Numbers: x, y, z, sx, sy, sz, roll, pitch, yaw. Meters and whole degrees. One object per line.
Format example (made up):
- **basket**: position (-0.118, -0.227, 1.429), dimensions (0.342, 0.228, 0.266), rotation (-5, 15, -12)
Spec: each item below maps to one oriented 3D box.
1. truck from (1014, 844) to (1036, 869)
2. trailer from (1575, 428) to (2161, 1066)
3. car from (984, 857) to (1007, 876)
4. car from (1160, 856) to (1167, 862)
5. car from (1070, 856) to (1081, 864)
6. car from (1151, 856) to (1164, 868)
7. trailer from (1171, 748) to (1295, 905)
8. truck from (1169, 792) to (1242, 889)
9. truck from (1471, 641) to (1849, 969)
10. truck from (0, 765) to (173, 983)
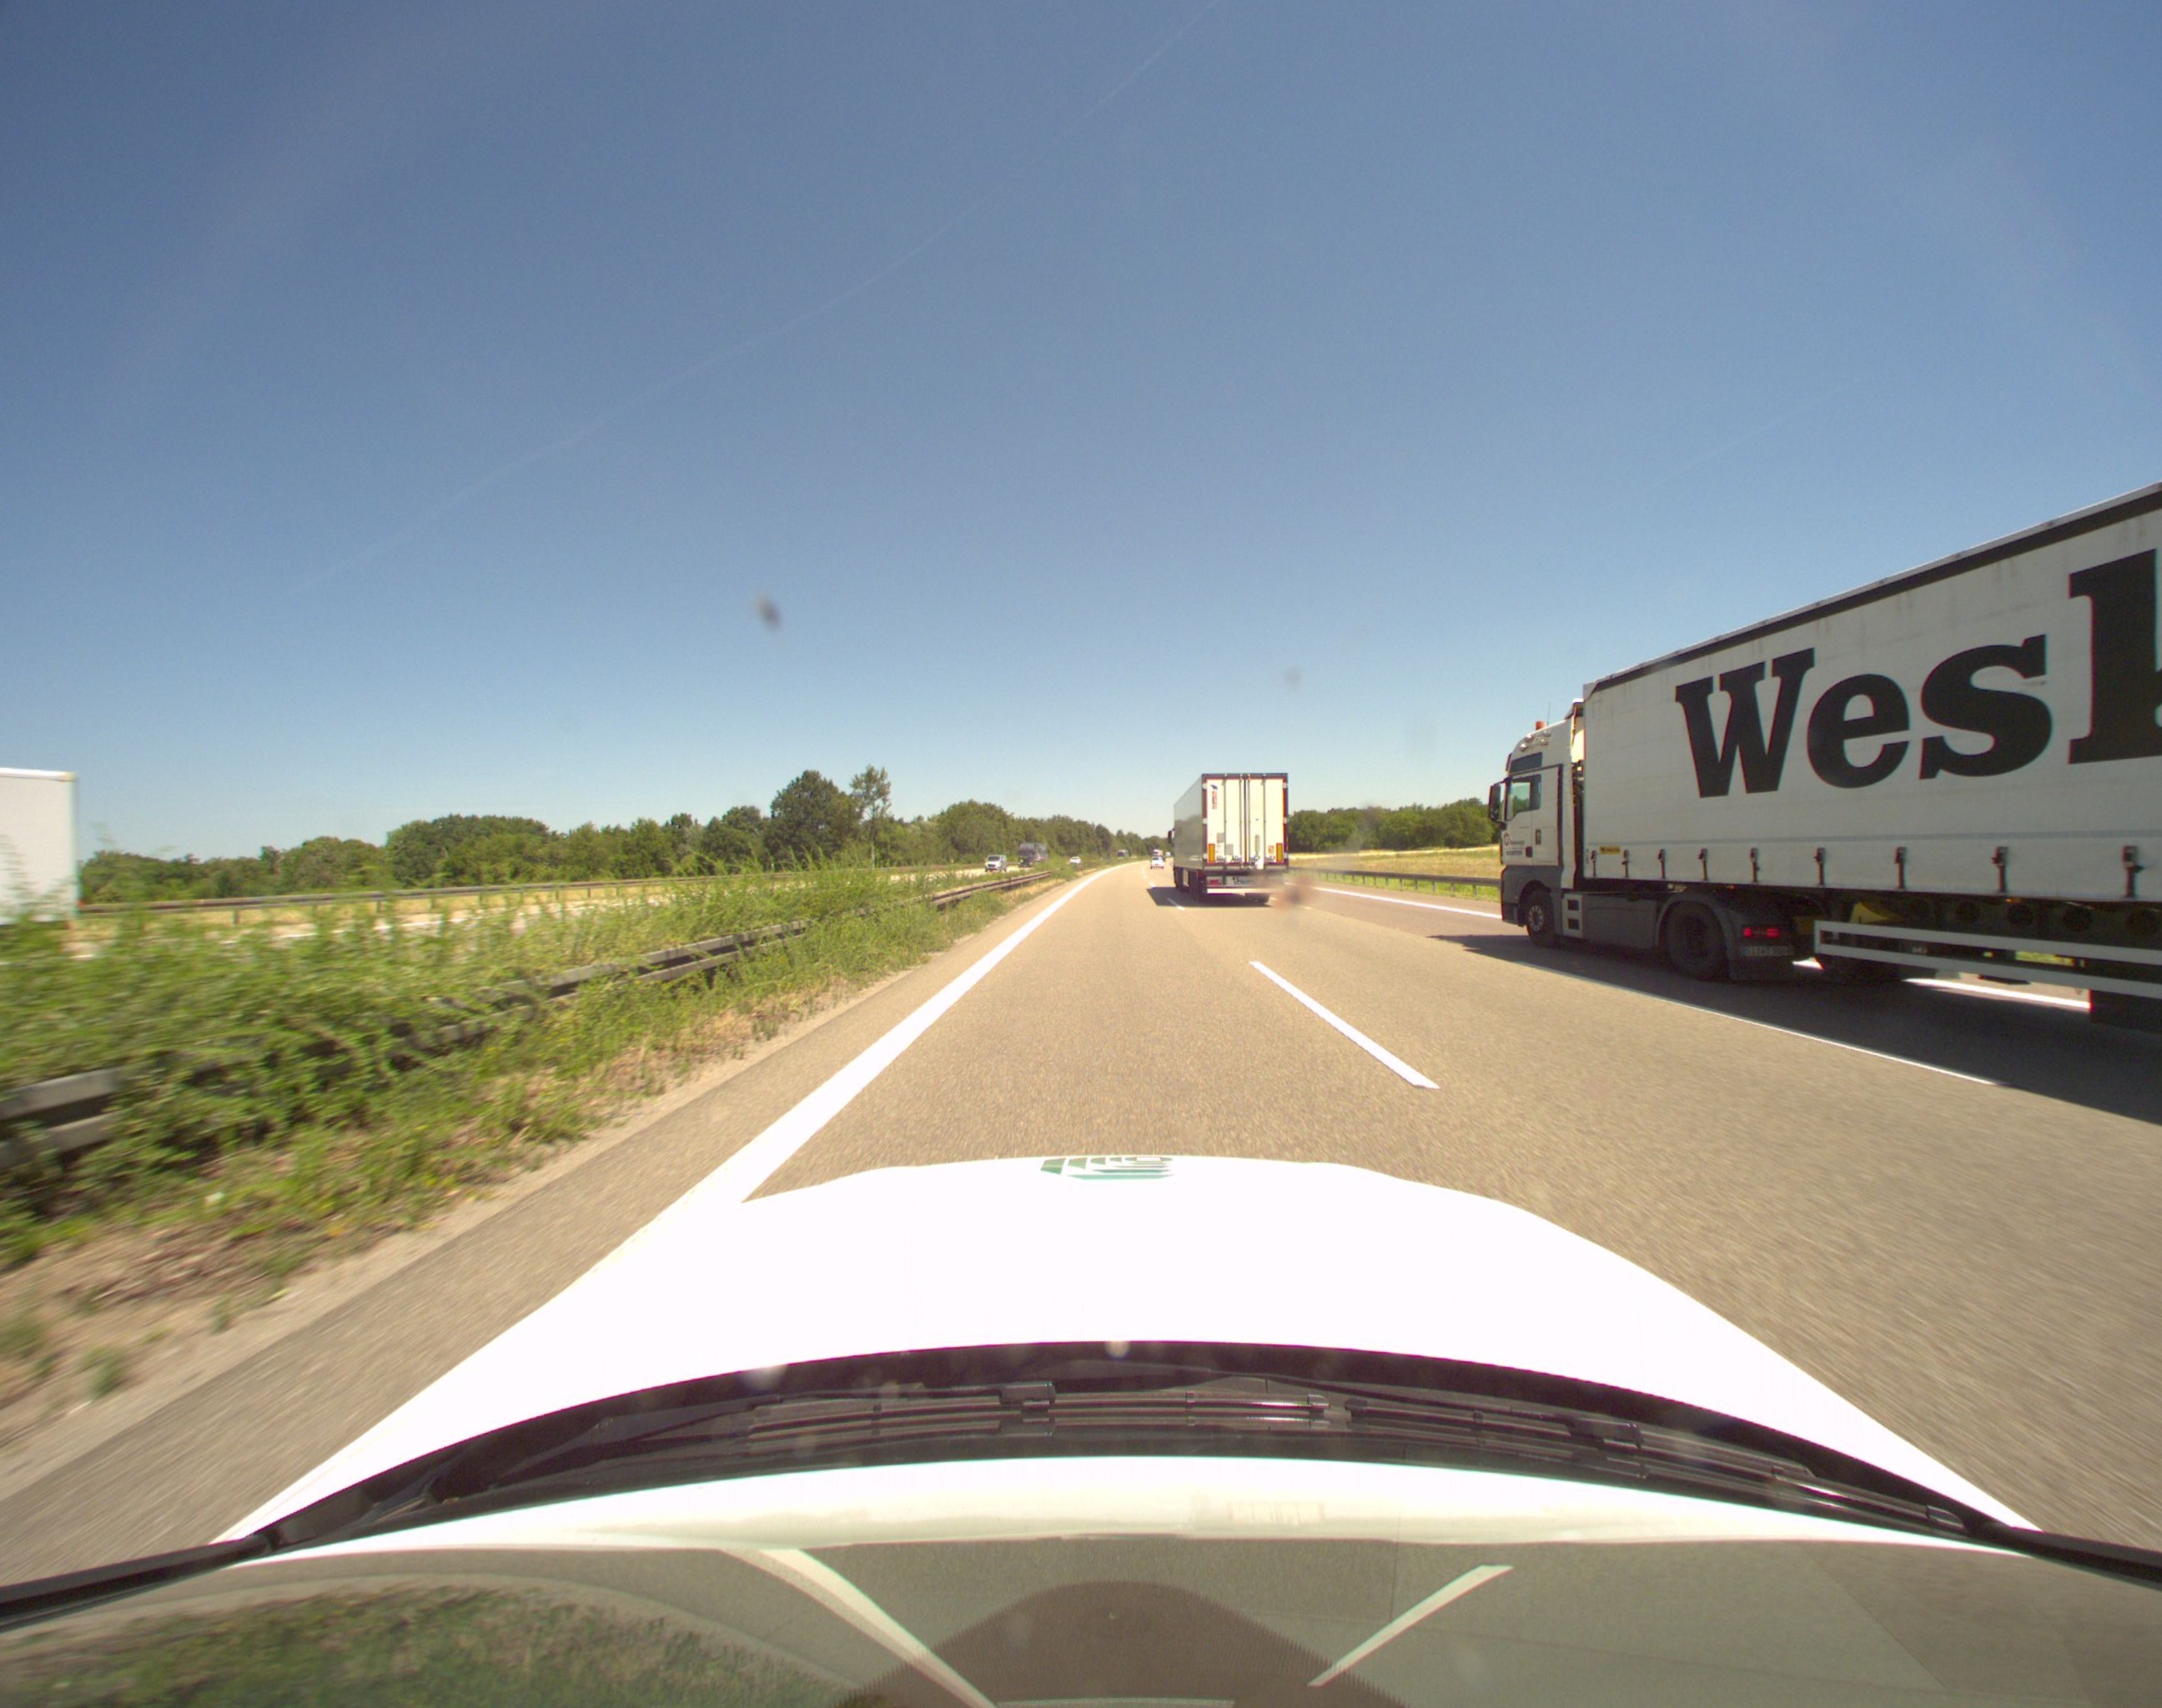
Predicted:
- **truck**: position (-9.011, 0.427, 132.141), dimensions (2.880, 3.916, 4.005), rotation (-1, 0, 4)
- **trailer**: position (8.500, -0.718, 5.313), dimensions (2.586, 4.252, 13.644), rotation (-1, -1, 2)
- **car**: position (-10.166, 1.458, 97.143), dimensions (2.051, 2.071, 5.410), rotation (-2, 0, 1)
- **car**: position (21.088, 1.313, 207.872), dimensions (1.619, 1.479, 4.007), rotation (-1, -1, 6)
- **car**: position (-1.087, 1.247, 162.156), dimensions (1.835, 1.586, 4.491), rotation (-1, 0, 3)
- **car**: position (9.827, 0.996, 104.284), dimensions (1.619, 1.479, 4.007), rotation (-1, -1, 6)
- **trailer**: position (5.325, -0.808, 31.346), dimensions (2.889, 4.657, 13.998), rotation (-1, 0, 3)
- **truck**: position (5.745, -0.590, 38.297), dimensions (2.896, 4.256, 4.979), rotation (-1, 0, 3)
- **truck**: position (8.755, -0.627, 13.154), dimensions (2.590, 4.256, 5.092), rotation (-1, 0, 2)
- **truck**: position (-16.660, 0.301, 10.236), dimensions (2.441, 3.099, 6.995), rotation (-1, 0, 3)
